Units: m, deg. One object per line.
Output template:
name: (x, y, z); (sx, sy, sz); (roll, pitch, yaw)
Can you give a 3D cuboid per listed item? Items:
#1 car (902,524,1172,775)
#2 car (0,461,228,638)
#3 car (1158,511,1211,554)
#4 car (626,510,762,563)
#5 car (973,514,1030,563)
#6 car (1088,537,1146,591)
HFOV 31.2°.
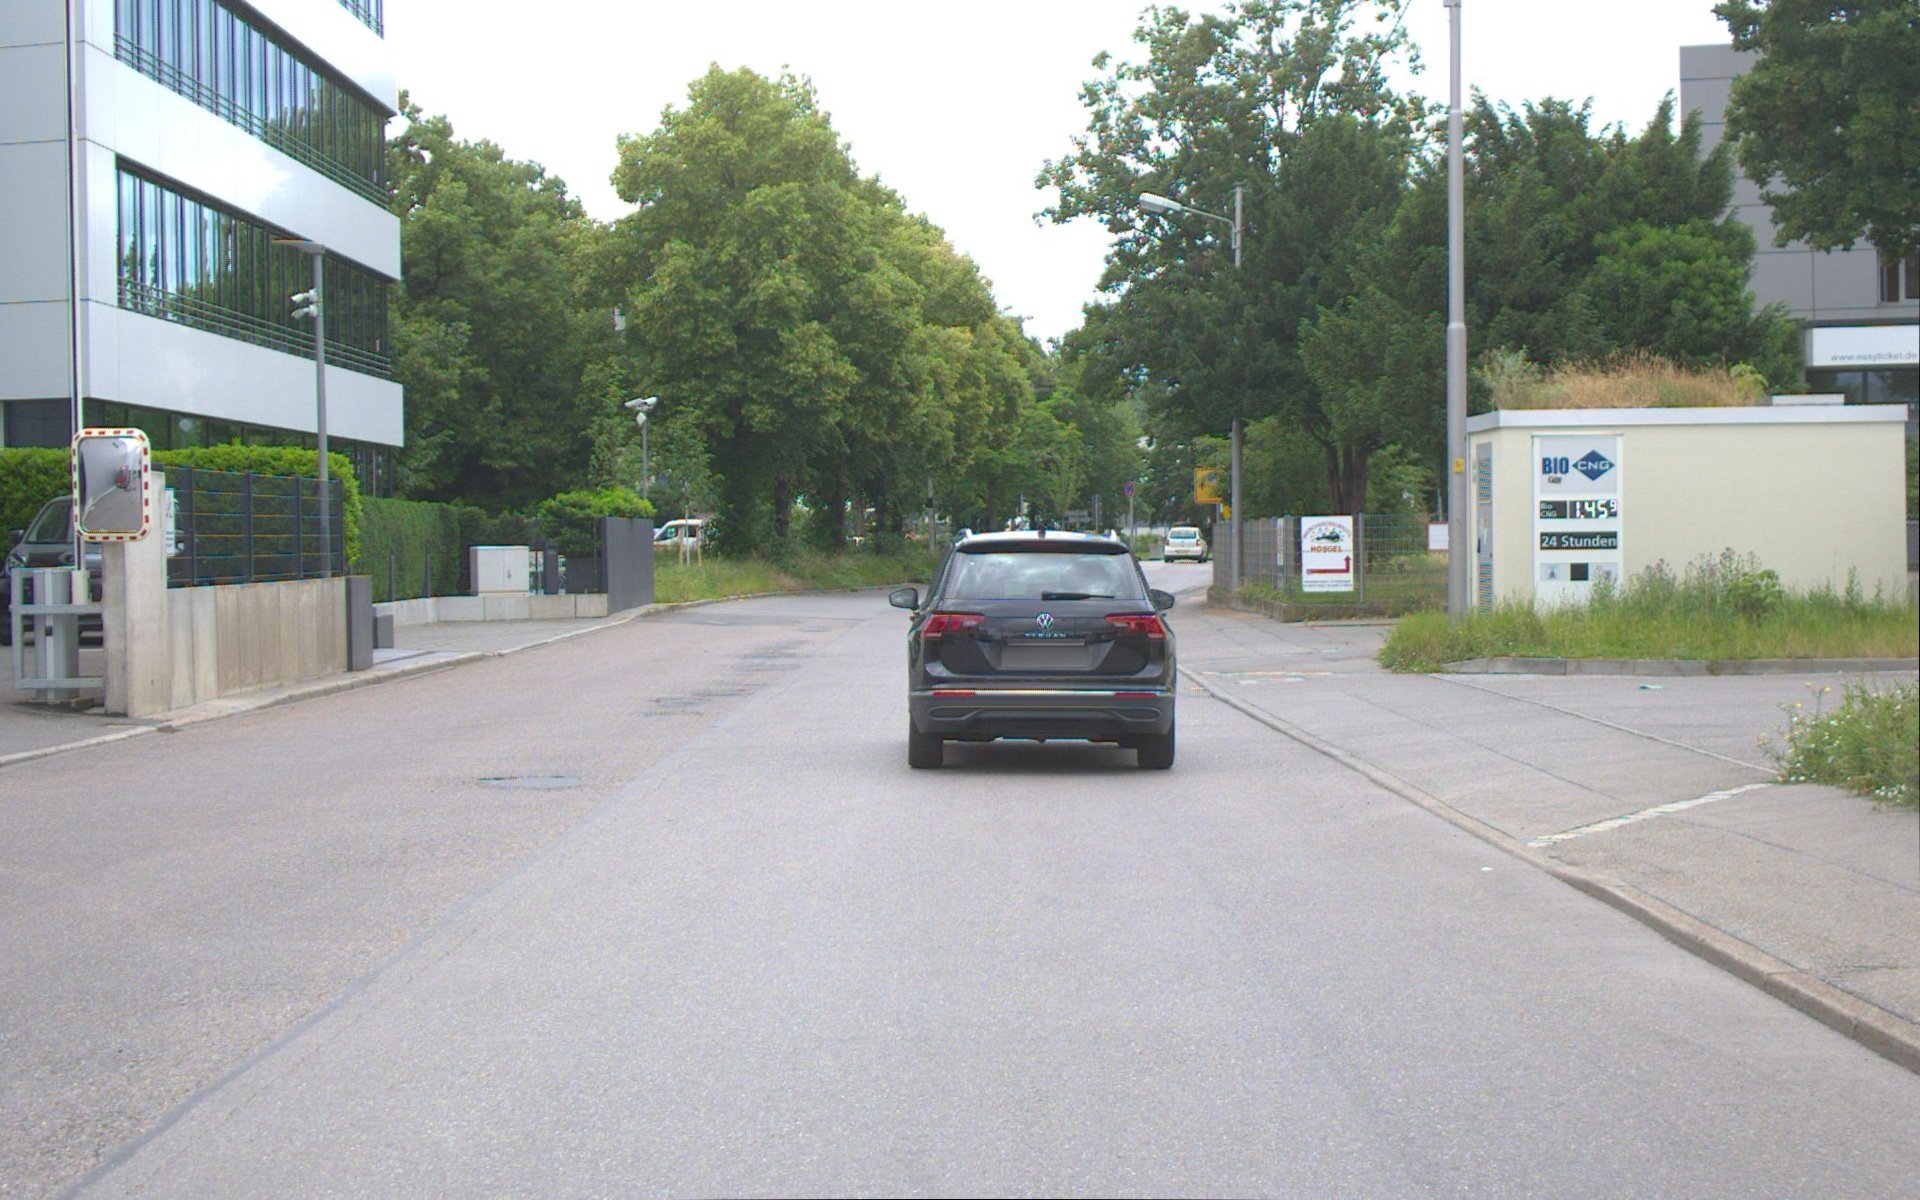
car: (0.577, 0.307, 24.213); (1.739, 1.612, 3.641); (1, 0, 2)
car: (-8.861, -0.538, 35.912); (1.650, 1.756, 3.179); (1, 1, 2)
car: (9.648, -2.900, 147.703); (1.994, 1.780, 3.999); (0, 1, 8)
car: (-12.466, -2.969, 161.204); (6.071, 2.379, 2.394); (-1, 1, 3)
car: (1.558, -2.279, 127.656); (1.808, 1.758, 4.205); (1, 1, 5)
car: (4.760, -1.111, 104.864); (1.659, 1.569, 3.828); (-1, 1, 2)
